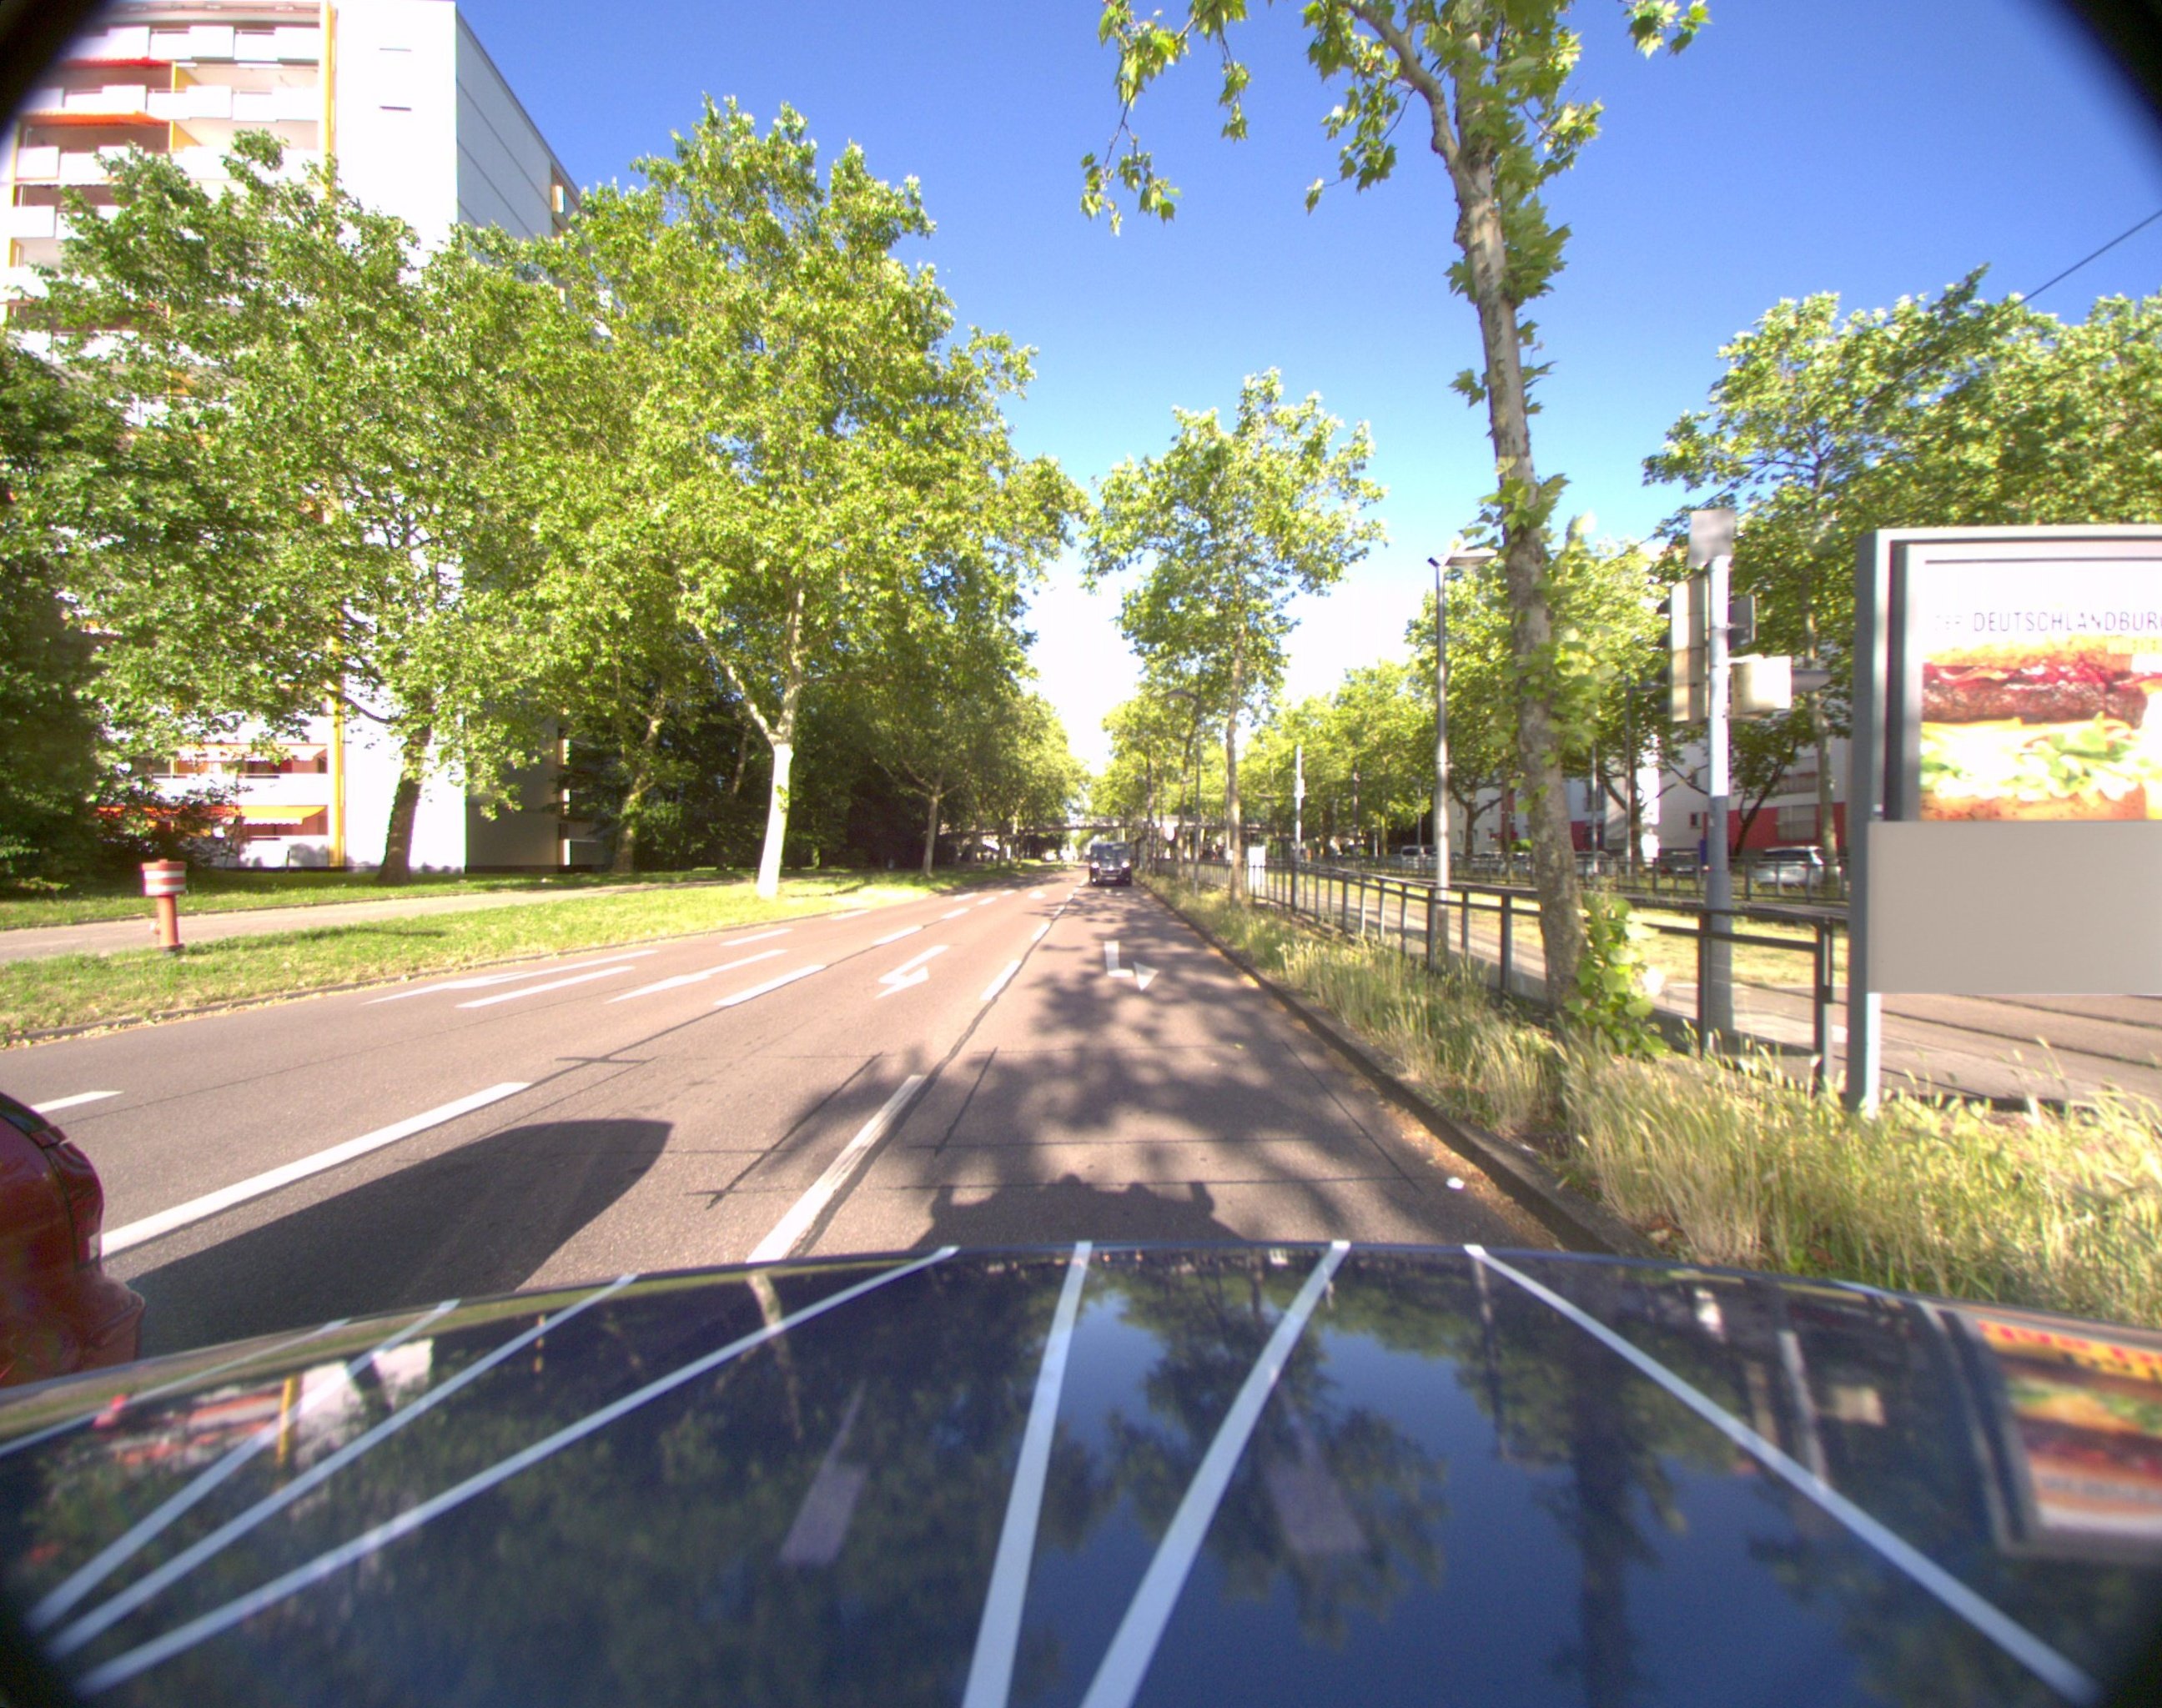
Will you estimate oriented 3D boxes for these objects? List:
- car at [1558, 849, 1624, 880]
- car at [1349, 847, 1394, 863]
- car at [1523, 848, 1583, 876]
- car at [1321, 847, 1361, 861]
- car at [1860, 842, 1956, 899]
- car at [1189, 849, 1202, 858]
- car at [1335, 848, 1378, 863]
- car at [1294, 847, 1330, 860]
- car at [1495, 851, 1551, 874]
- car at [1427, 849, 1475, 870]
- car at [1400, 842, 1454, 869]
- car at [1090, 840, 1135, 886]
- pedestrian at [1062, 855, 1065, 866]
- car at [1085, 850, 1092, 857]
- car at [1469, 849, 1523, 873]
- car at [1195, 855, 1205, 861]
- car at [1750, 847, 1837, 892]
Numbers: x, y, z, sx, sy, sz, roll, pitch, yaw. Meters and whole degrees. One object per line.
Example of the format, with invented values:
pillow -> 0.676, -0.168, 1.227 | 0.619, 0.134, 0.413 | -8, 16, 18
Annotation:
car -> 25.327, 0.499, 37.684 | 3.689, 1.384, 1.645 | -1, 1, -38
car -> 26.841, 0.085, 70.201 | 4.376, 1.367, 1.919 | -1, 1, -39
car -> 25.807, 0.428, 41.511 | 3.689, 1.440, 1.645 | -1, 1, -39
car -> 27.238, 0.023, 79.568 | 4.376, 1.367, 1.919 | -1, 1, -39
car -> 25.015, 0.460, 22.954 | 3.689, 1.558, 1.683 | -1, 1, -38
car -> 22.227, -0.078, 147.320 | 1.923, 1.565, 4.368 | -1, 0, 2
car -> 26.584, 0.098, 73.271 | 4.376, 1.367, 1.919 | -1, 1, -39
car -> 27.197, -0.061, 89.422 | 4.376, 1.367, 1.919 | -1, 1, -39
car -> 26.196, 0.480, 44.954 | 3.689, 1.234, 1.645 | -1, 1, -39
car -> 26.242, 0.346, 53.892 | 3.689, 1.388, 1.645 | -1, 1, -39
car -> 25.957, 0.083, 56.985 | 4.376, 1.873, 1.919 | -1, 1, -39
car -> 1.514, 0.399, 38.306 | 2.040, 2.102, 5.113 | -2, 0, 1
pedestrian -> -2.392, 0.839, 102.669 | 0.398, 1.454, 0.417 | -1, 1, -3
car -> 2.046, -0.119, 205.802 | 2.040, 1.995, 5.113 | -2, 0, 1
car -> 25.953, 0.413, 47.488 | 3.689, 1.440, 1.645 | -1, 1, -39
car -> 25.586, 0.886, 163.158 | 1.672, 1.351, 3.295 | -1, 0, 1
car -> 25.053, 0.493, 26.679 | 3.689, 1.425, 1.683 | -1, 1, -38
